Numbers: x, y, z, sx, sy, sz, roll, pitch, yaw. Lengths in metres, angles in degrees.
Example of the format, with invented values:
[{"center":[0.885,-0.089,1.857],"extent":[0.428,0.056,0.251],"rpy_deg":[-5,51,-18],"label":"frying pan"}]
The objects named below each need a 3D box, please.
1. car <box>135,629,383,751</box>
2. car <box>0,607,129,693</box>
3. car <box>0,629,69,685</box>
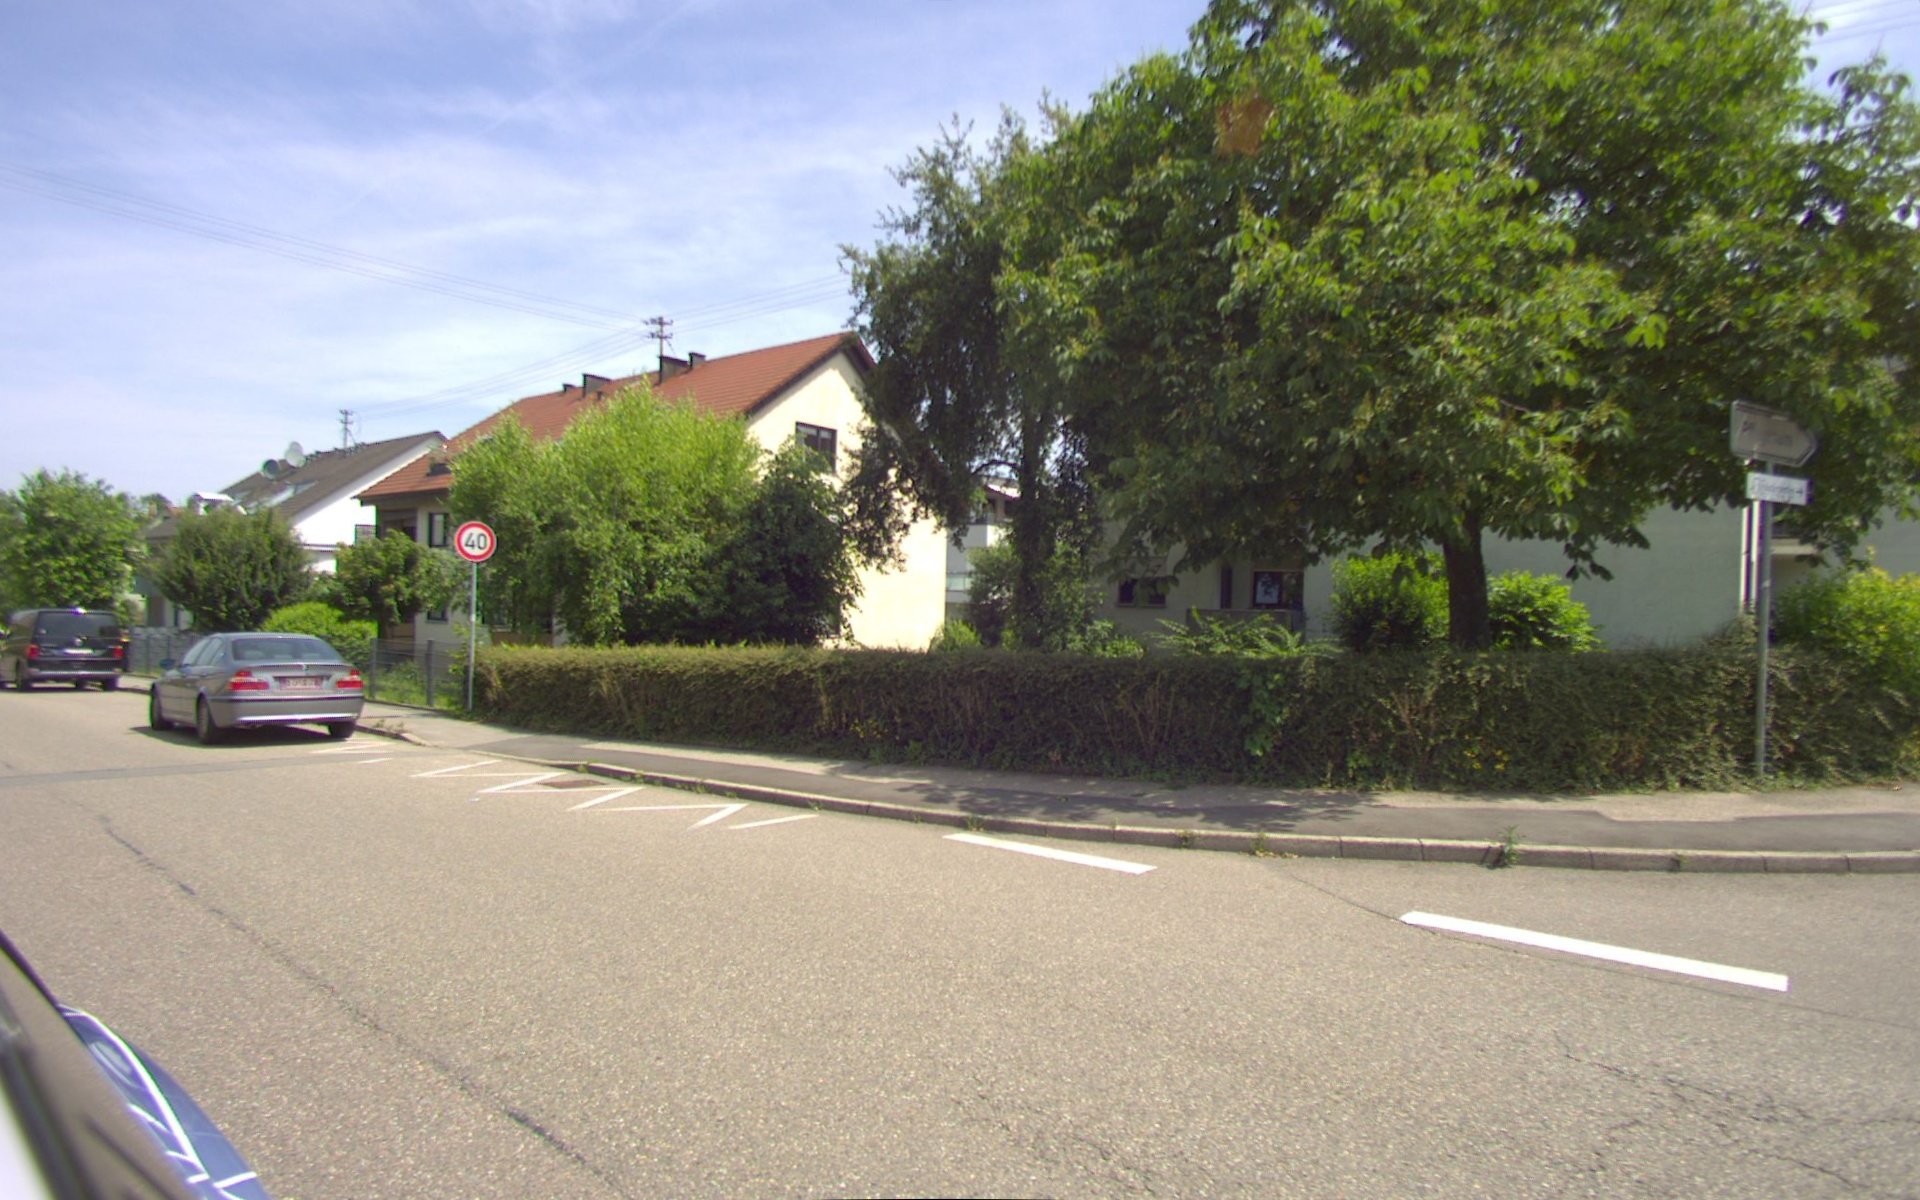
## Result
[{"center":[-9.779,1.137,13.989],"extent":[4.407,1.405,1.761],"rpy_deg":[-1,-3,41],"label":"car"},{"center":[-22.607,1.258,25.220],"extent":[4.864,1.935,1.878],"rpy_deg":[-2,-4,39],"label":"car"},{"center":[-28.197,1.678,30.127],"extent":[4.238,1.561,1.793],"rpy_deg":[-2,-3,39],"label":"car"}]
